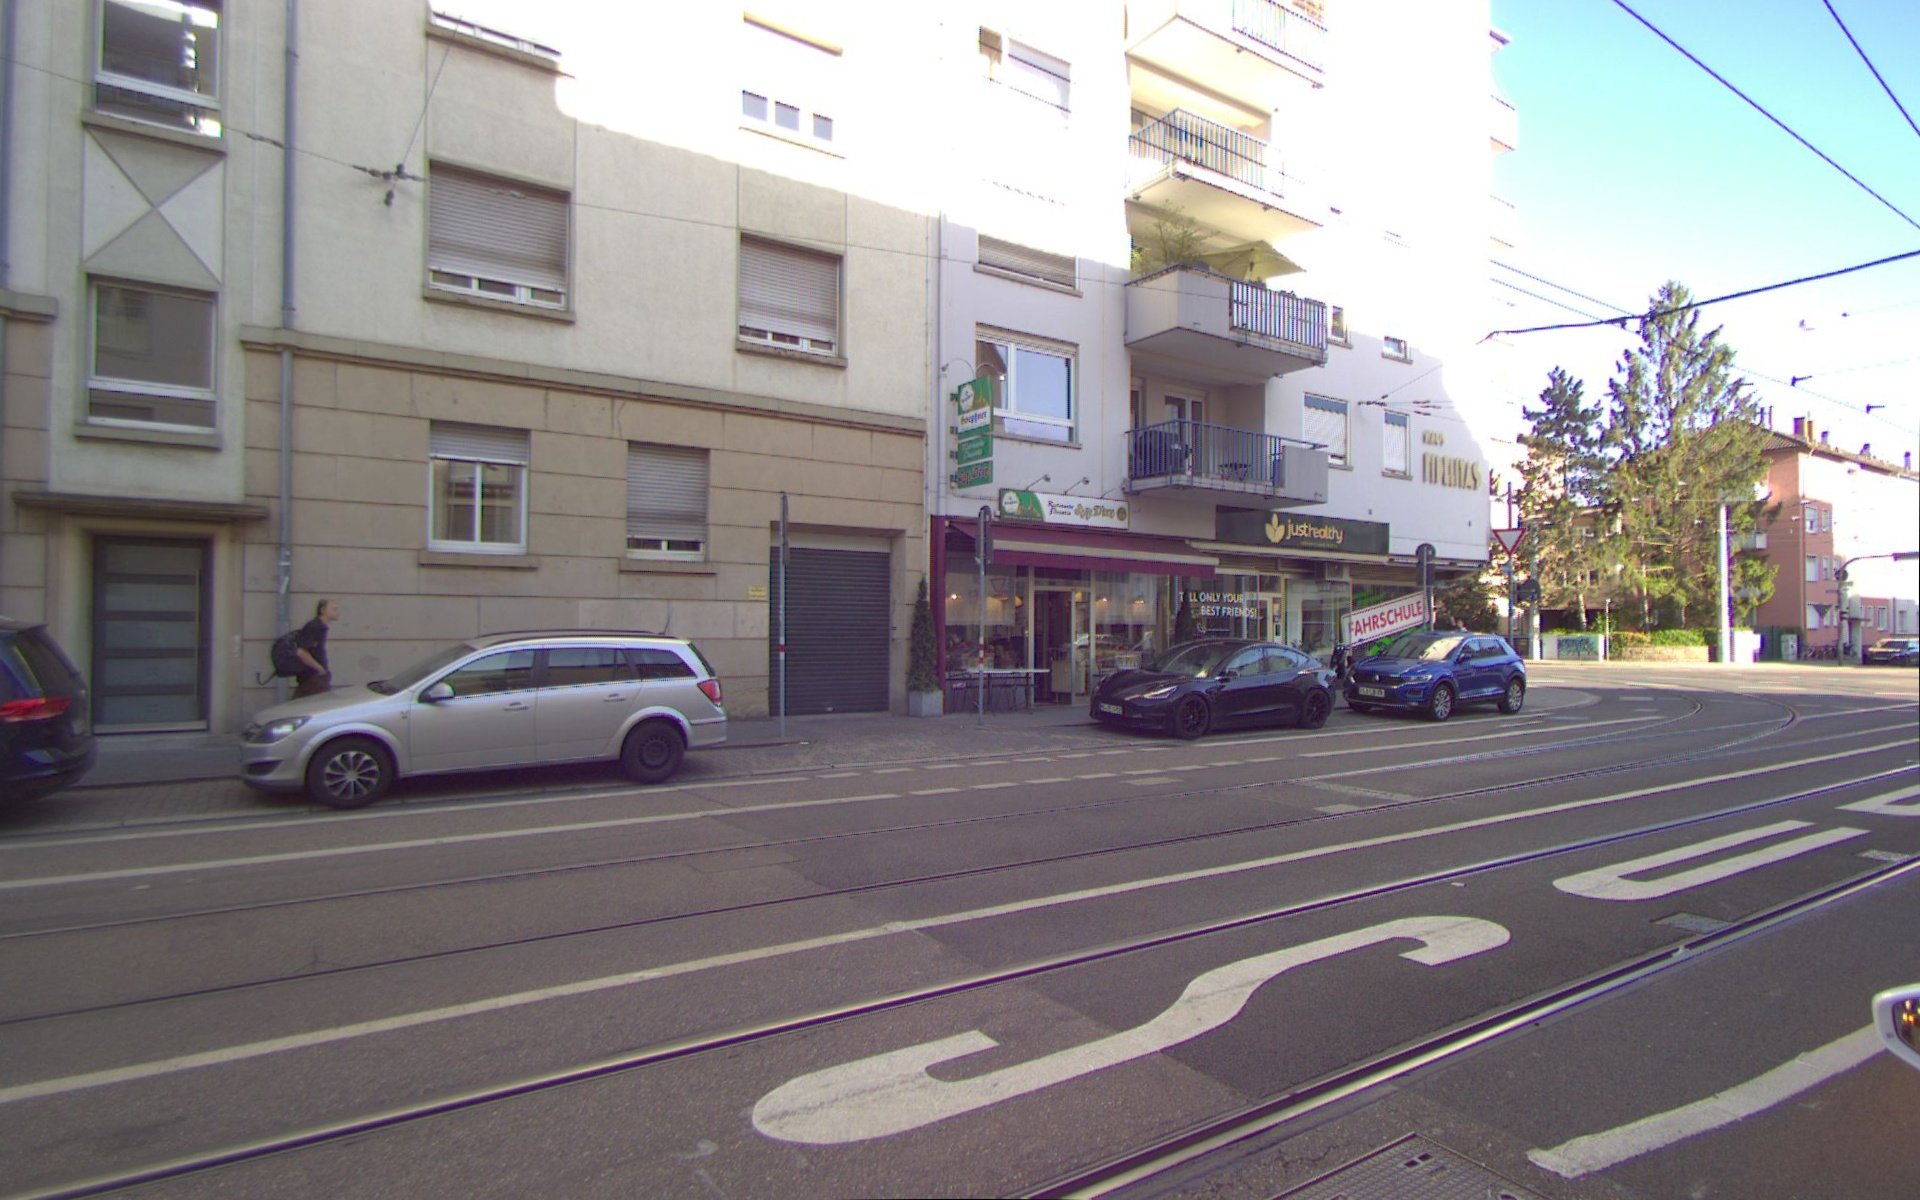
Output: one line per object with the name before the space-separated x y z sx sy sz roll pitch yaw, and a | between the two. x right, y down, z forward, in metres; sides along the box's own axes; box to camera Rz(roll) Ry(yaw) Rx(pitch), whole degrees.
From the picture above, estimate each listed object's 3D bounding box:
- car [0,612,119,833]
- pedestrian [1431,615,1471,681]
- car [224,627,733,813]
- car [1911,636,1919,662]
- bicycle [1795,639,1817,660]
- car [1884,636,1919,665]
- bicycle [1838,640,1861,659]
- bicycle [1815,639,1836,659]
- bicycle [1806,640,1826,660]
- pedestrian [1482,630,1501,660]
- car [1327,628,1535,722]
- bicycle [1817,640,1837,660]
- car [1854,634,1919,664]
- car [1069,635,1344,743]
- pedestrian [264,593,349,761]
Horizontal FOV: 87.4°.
car | -8.997 0.880 7.189 4.343 1.620 1.785 1 -1 -34
pedestrian | 14.009 1.353 28.669 0.707 1.859 0.771 0 -1 -3
car | -4.710 1.050 10.211 4.343 1.497 1.785 1 -1 -34
car | 58.126 2.899 59.448 3.961 1.539 1.938 1 -2 -36
bicycle | 46.881 2.726 55.629 1.895 1.097 0.634 2 -2 -41
car | 54.272 2.842 57.009 4.006 1.539 1.938 1 -2 -36
bicycle | 53.156 2.939 60.022 1.892 1.097 0.605 1 -2 -37
bicycle | 50.740 2.862 58.877 1.892 1.097 0.533 1 -2 -37
bicycle | 47.177 2.736 55.337 1.895 1.097 0.532 2 -2 -41
pedestrian | 30.929 2.598 58.420 0.800 1.725 0.676 -1 -2 44
car | 8.989 1.346 19.081 4.072 1.525 1.714 1 1 -34
bicycle | 47.604 2.748 55.162 1.895 1.097 0.532 2 -2 -41
car | 49.724 2.618 53.779 3.961 1.539 1.938 1 -2 -36
car | 4.009 1.316 16.039 4.442 1.422 1.714 1 1 -34
pedestrian | -7.019 0.805 10.815 0.722 1.731 0.600 1 -2 -32
